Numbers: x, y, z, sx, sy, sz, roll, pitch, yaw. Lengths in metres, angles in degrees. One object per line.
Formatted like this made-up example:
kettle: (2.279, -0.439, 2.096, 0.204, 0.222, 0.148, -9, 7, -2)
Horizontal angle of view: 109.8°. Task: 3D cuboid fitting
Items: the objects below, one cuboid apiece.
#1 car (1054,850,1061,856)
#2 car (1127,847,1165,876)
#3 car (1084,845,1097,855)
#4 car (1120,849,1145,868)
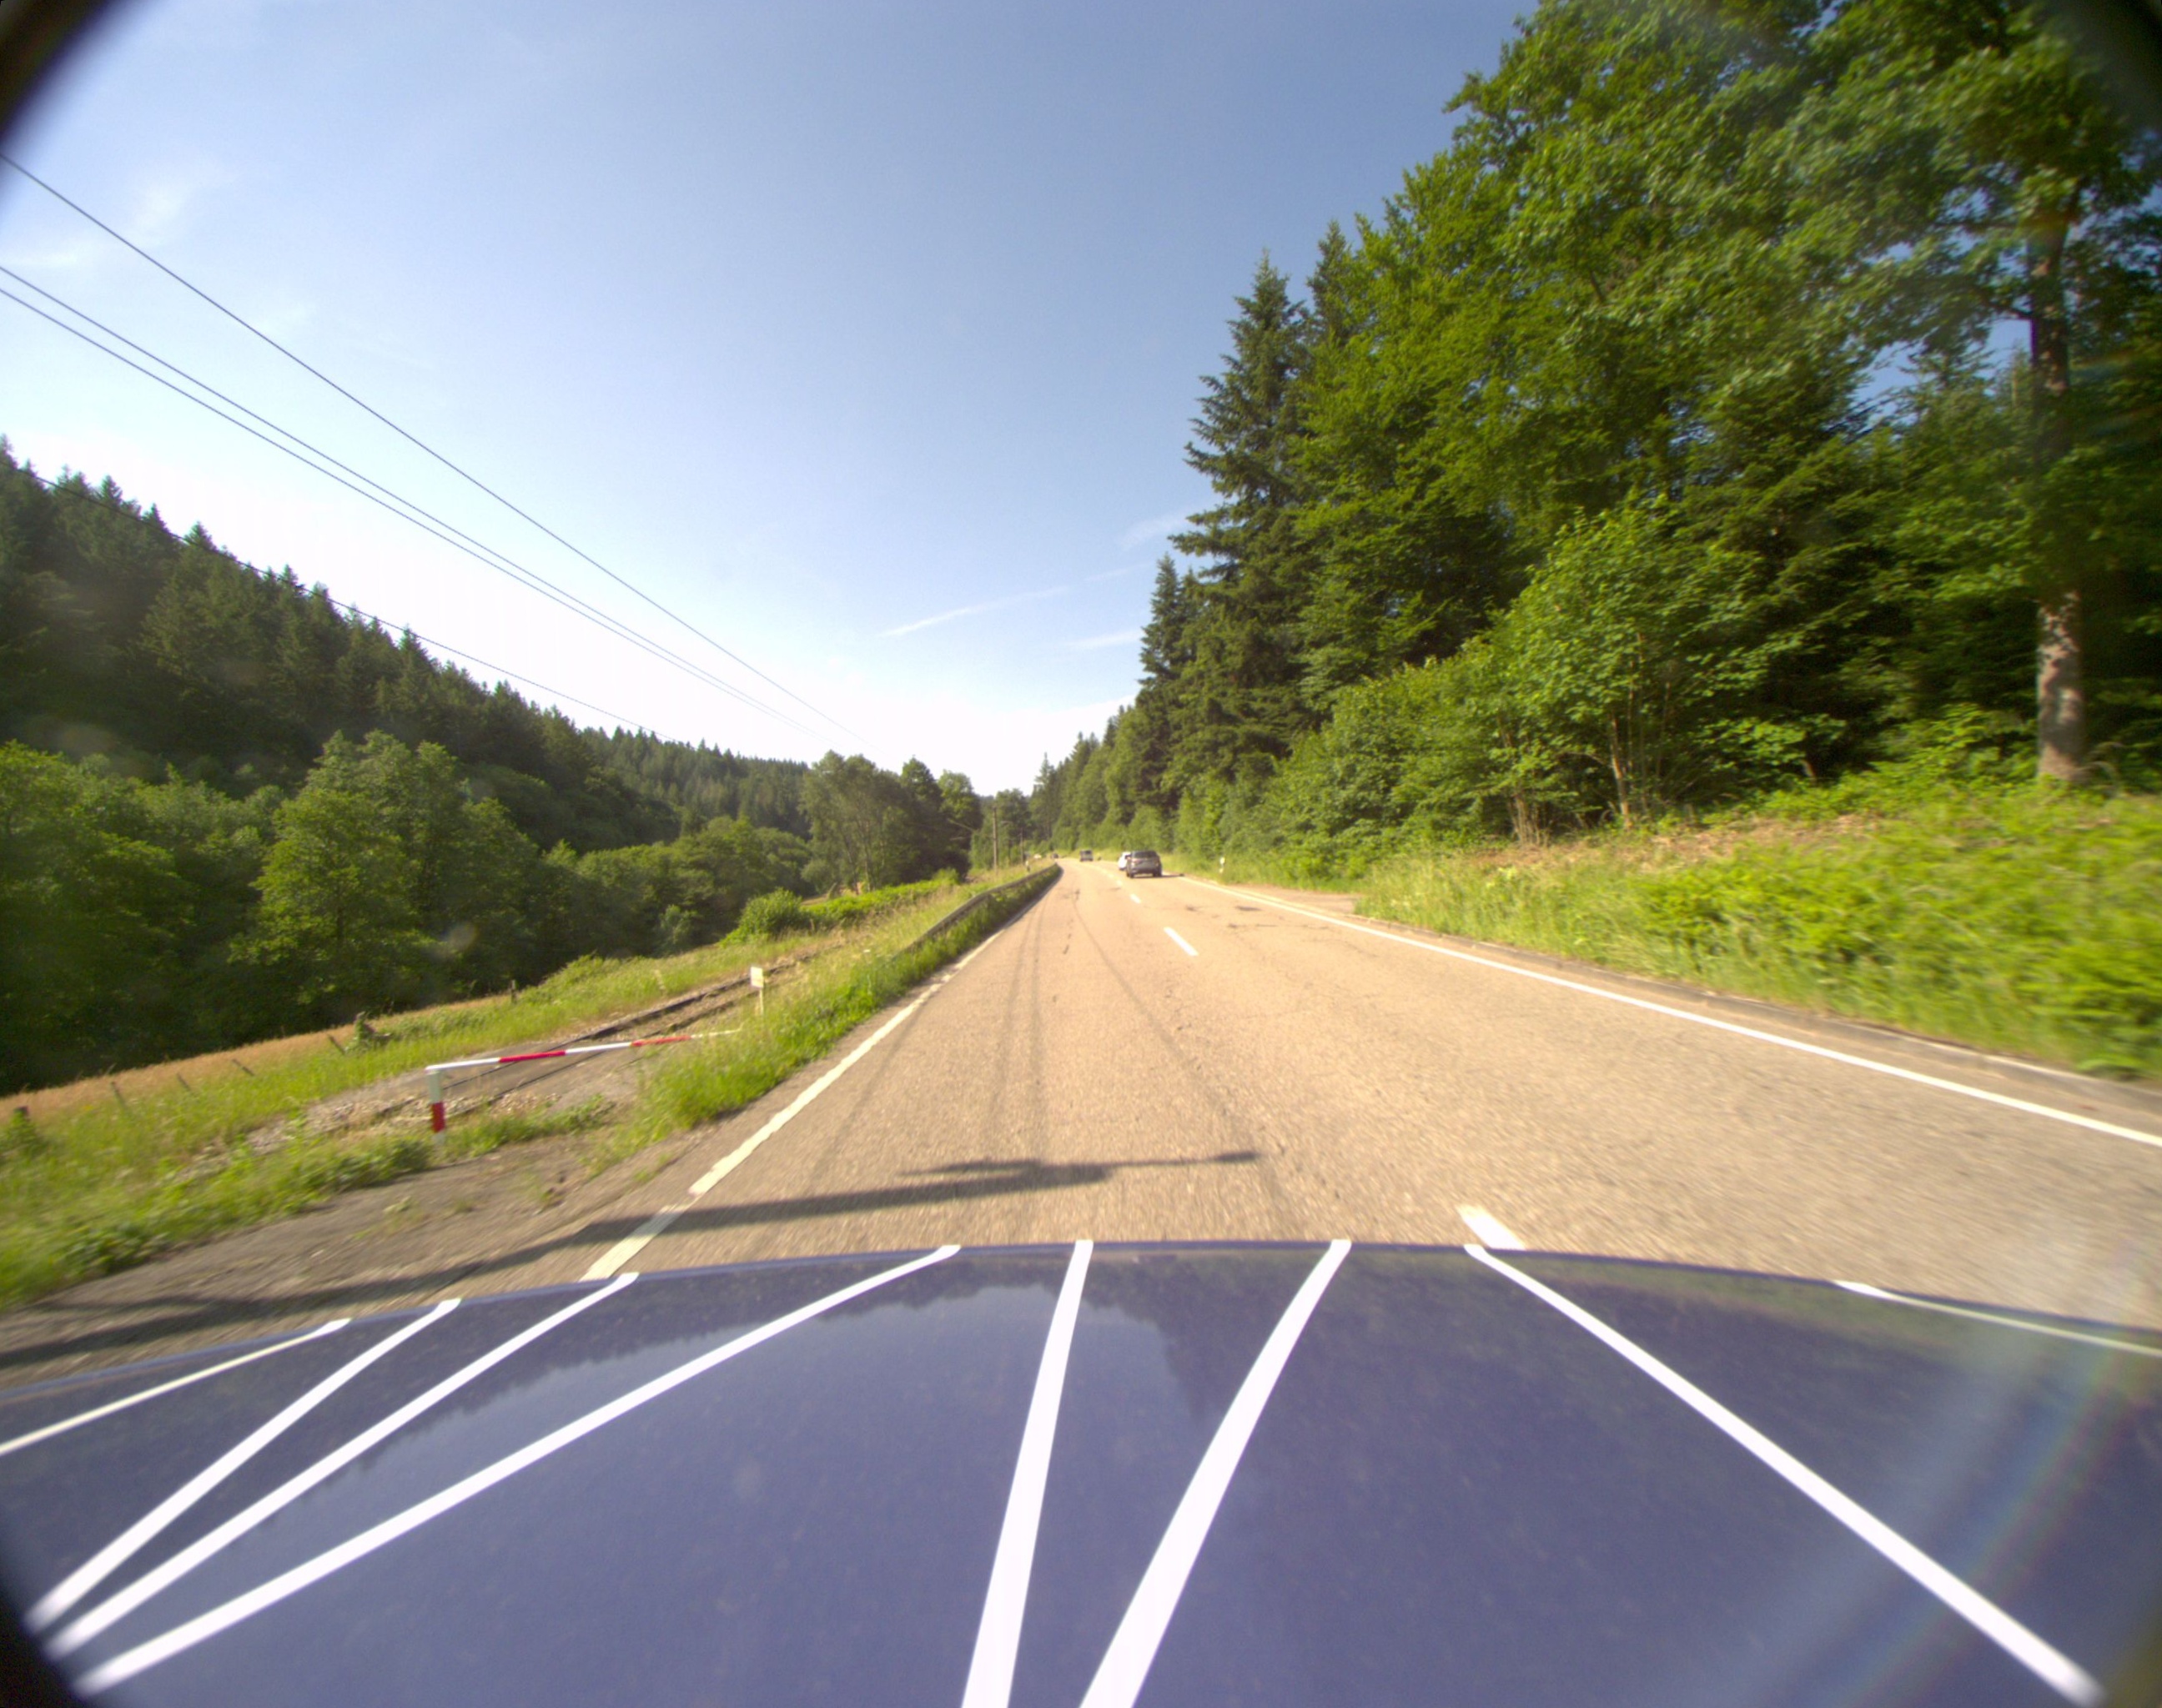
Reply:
car: (-6.345, -0.302, 204.771, 1.798, 1.601, 4.228, -2, 0, -3)
car: (3.735, 0.408, 44.243, 1.840, 1.572, 4.875, -2, 0, 1)
car: (1.466, -0.646, 121.938, 1.968, 1.568, 4.535, -2, 0, -1)
car: (4.051, 0.338, 60.292, 1.798, 1.357, 4.000, -2, 1, 2)
